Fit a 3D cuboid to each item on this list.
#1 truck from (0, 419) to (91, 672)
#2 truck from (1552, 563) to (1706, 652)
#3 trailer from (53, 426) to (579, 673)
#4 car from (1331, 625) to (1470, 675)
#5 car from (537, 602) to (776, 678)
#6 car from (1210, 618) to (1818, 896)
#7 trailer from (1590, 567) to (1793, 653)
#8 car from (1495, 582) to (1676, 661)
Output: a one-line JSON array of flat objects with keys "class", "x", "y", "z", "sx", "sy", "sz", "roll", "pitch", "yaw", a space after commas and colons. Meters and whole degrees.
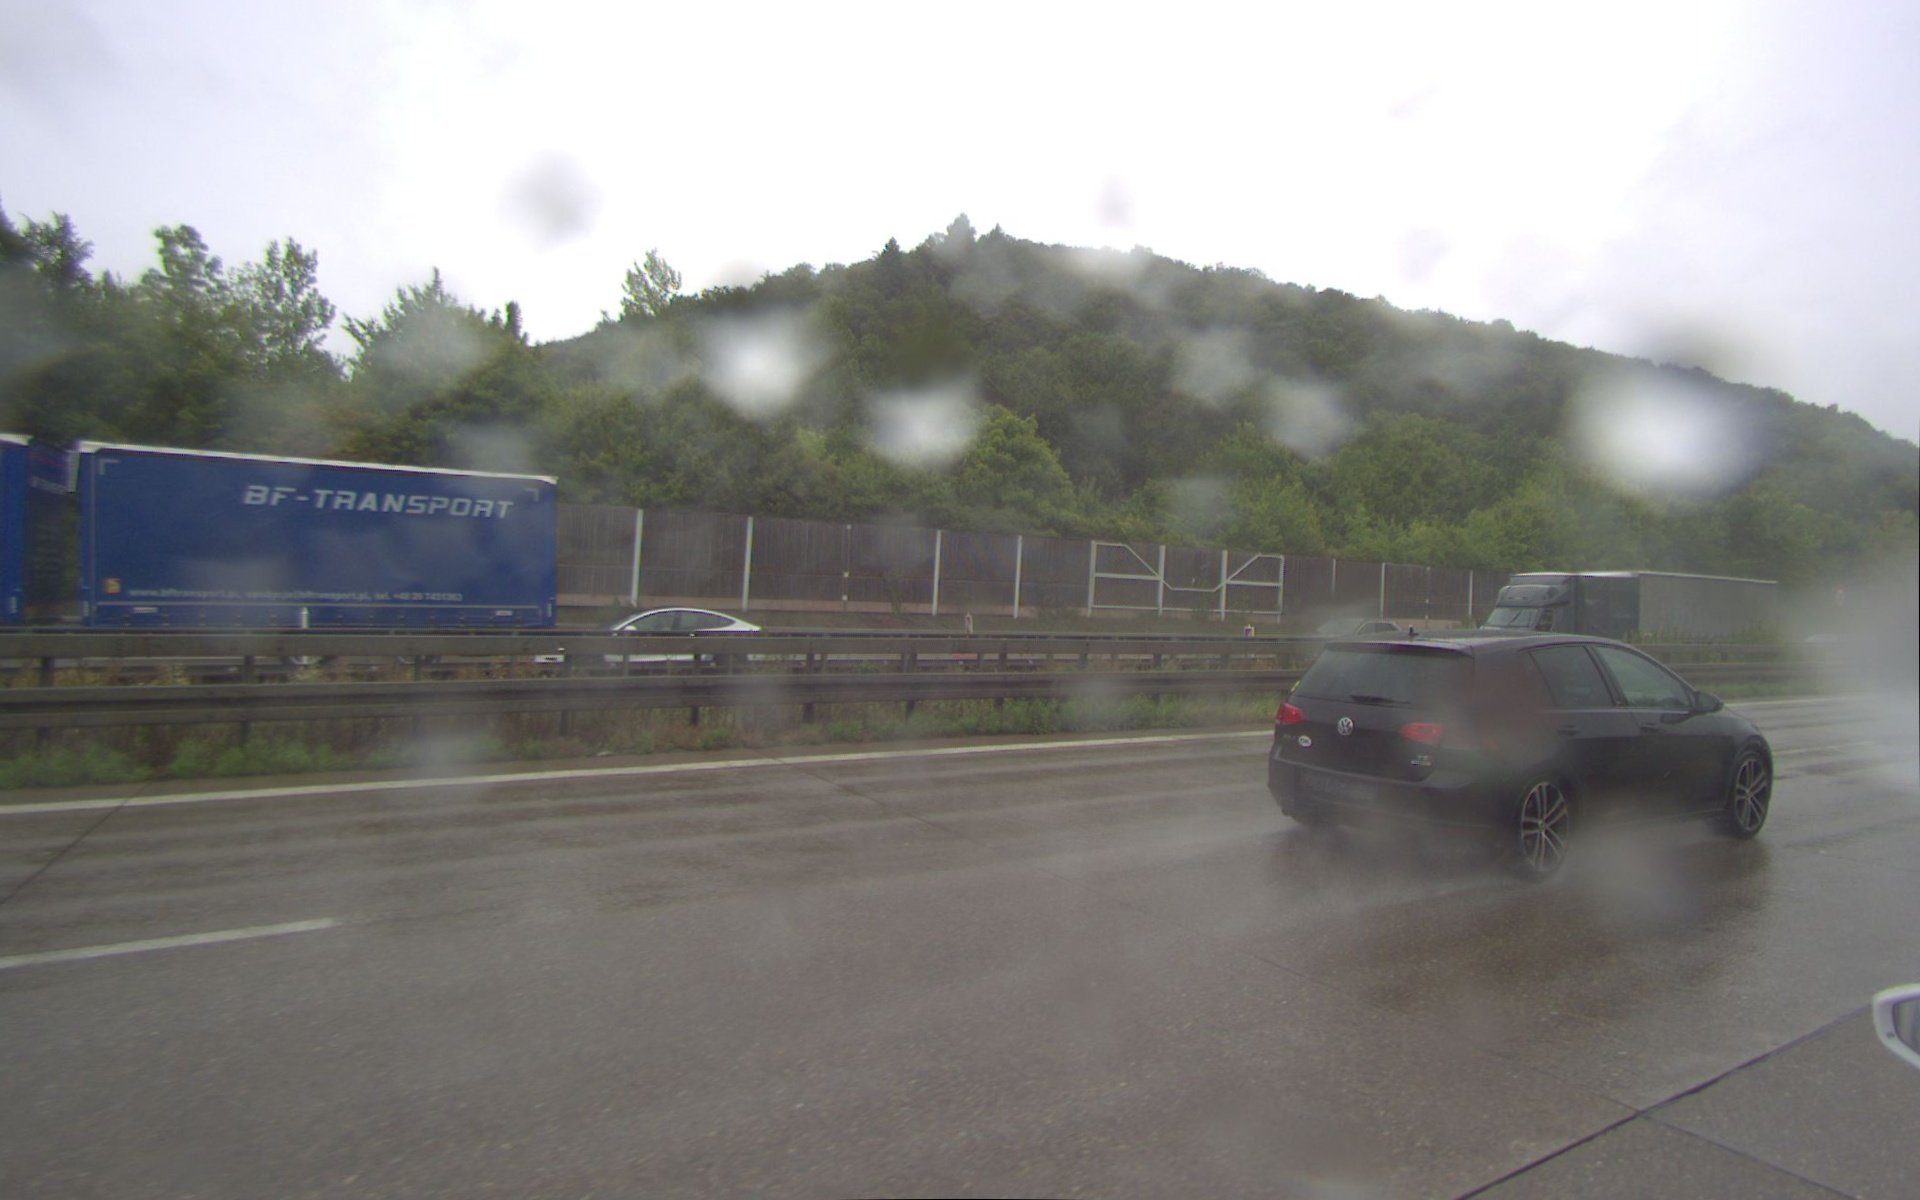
[{"class": "truck", "x": -20.475, "y": -1.040, "z": 15.646, "sx": 10.061, "sy": 4.210, "sz": 2.833, "roll": 1, "pitch": 1, "yaw": -31}, {"class": "truck", "x": 31.058, "y": 0.383, "z": 46.567, "sx": 7.589, "sy": 3.852, "sz": 2.761, "roll": 1, "pitch": 1, "yaw": -30}, {"class": "trailer", "x": -12.496, "y": -0.803, "z": 20.485, "sx": 8.427, "sy": 4.210, "sz": 2.833, "roll": 1, "pitch": 1, "yaw": -31}, {"class": "car", "x": 13.658, "y": 1.513, "z": 31.087, "sx": 4.374, "sy": 1.357, "sz": 1.743, "roll": 1, "pitch": 1, "yaw": -31}, {"class": "car", "x": -6.154, "y": 0.794, "z": 20.519, "sx": 4.374, "sy": 1.357, "sz": 1.743, "roll": 1, "pitch": 1, "yaw": -31}, {"class": "car", "x": 3.930, "y": 0.879, "z": 6.955, "sx": 4.270, "sy": 1.406, "sz": 1.733, "roll": 2, "pitch": -1, "yaw": -30}, {"class": "trailer", "x": 36.408, "y": 0.555, "z": 49.682, "sx": 13.615, "sy": 3.852, "sz": 2.754, "roll": 2, "pitch": 1, "yaw": -30}, {"class": "car", "x": 22.495, "y": 0.777, "z": 36.005, "sx": 7.355, "sy": 2.601, "sz": 2.173, "roll": 2, "pitch": 1, "yaw": -29}]
